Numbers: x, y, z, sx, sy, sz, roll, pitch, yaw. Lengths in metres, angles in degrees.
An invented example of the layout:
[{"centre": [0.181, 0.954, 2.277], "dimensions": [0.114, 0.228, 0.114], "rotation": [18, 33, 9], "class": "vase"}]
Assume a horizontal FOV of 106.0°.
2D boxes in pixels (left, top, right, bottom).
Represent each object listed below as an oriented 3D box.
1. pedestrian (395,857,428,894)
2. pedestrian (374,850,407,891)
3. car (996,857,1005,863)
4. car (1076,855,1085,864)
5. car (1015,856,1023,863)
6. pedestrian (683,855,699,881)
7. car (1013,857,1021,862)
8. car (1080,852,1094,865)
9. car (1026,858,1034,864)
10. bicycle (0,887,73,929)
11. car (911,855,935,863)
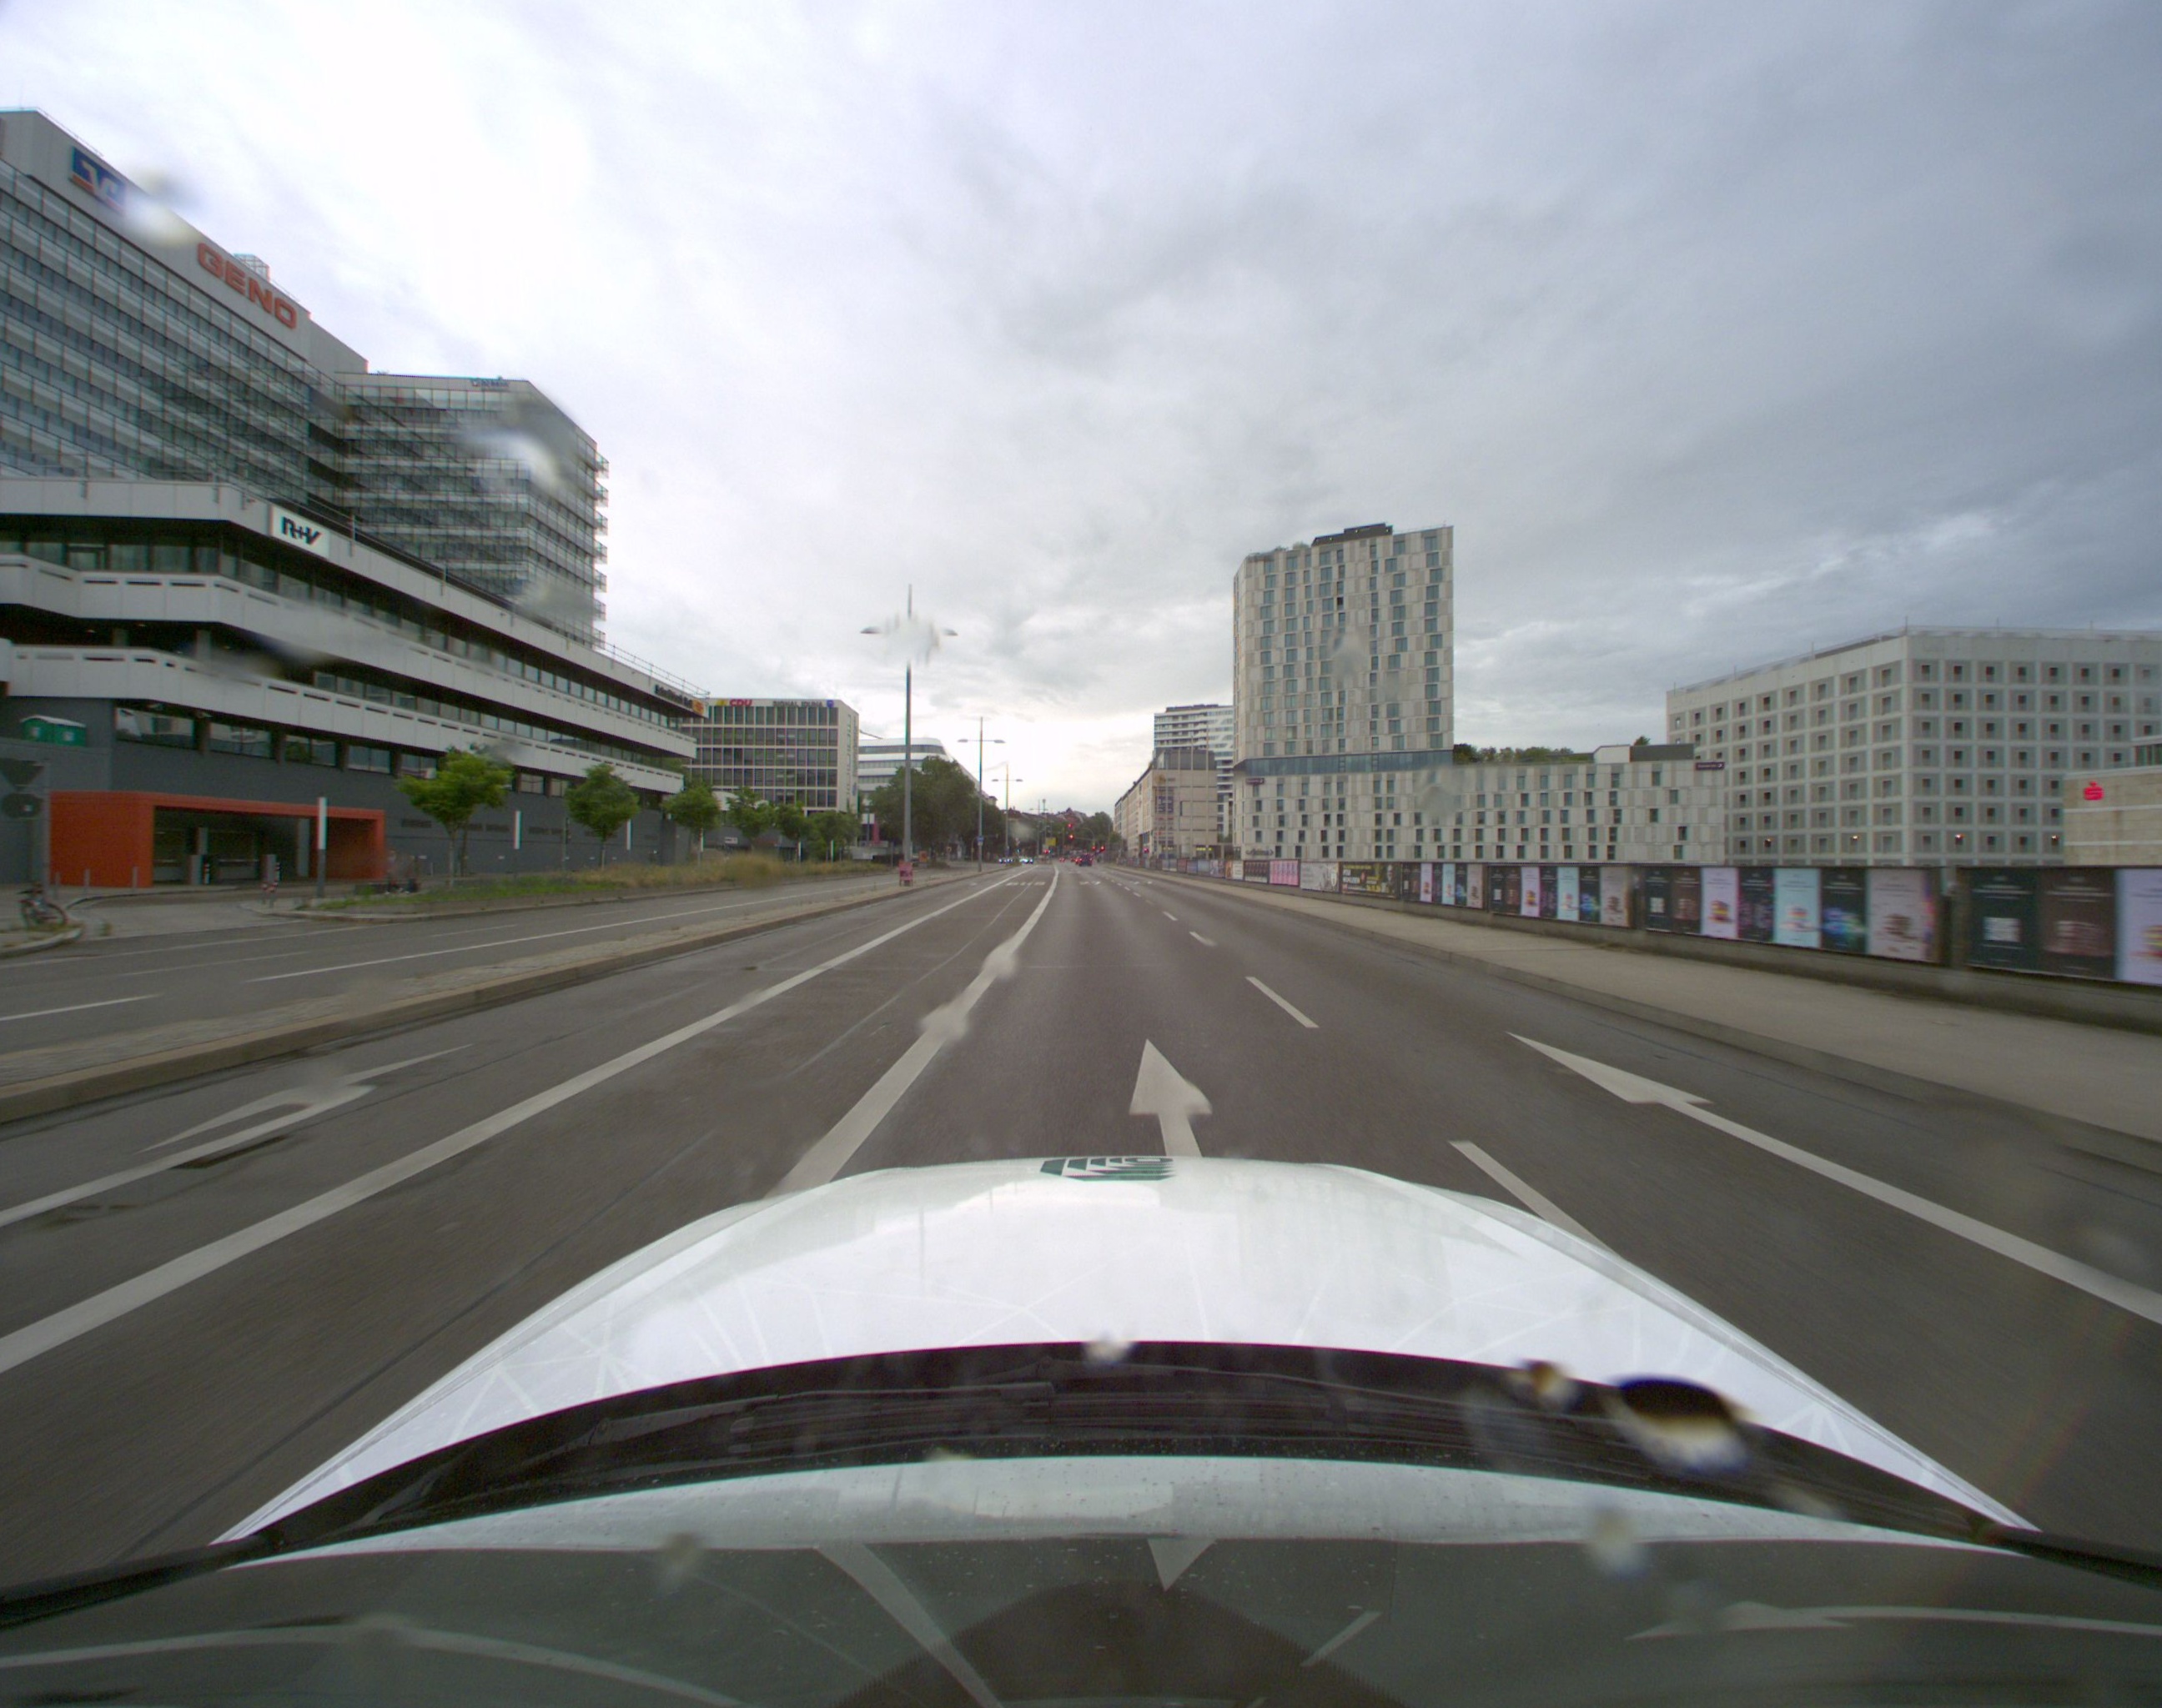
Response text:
[{"centre": [-27.087, 0.869, 32.958], "dimensions": [0.616, 1.446, 0.798], "rotation": [0, -2, 0], "class": "pedestrian"}, {"centre": [-27.866, 0.670, 32.885], "dimensions": [0.616, 1.658, 0.798], "rotation": [-1, -2, 0], "class": "pedestrian"}, {"centre": [-19.556, 1.386, 198.093], "dimensions": [1.738, 1.328, 4.222], "rotation": [0, -1, -2], "class": "car"}, {"centre": [-0.109, 1.015, 152.482], "dimensions": [1.735, 1.531, 3.811], "rotation": [0, -1, -2], "class": "car"}, {"centre": [-15.738, 1.428, 206.091], "dimensions": [1.738, 1.559, 3.537], "rotation": [0, -1, -2], "class": "car"}, {"centre": [-27.364, 1.016, 57.154], "dimensions": [0.782, 1.808, 0.628], "rotation": [0, -2, -2], "class": "pedestrian"}, {"centre": [-15.614, 1.400, 198.700], "dimensions": [1.738, 1.257, 3.537], "rotation": [0, 0, -2], "class": "car"}, {"centre": [0.903, 0.649, 127.679], "dimensions": [2.027, 1.882, 5.039], "rotation": [-3, 0, -1], "class": "car"}, {"centre": [-12.460, 1.736, 198.033], "dimensions": [1.738, 1.444, 3.392], "rotation": [0, -1, -2], "class": "car"}, {"centre": [-23.191, 1.174, 18.047], "dimensions": [0.612, 0.857, 1.639], "rotation": [1, -2, -35], "class": "bicycle"}, {"centre": [-32.910, 1.062, 169.668], "dimensions": [4.469, 1.631, 1.902], "rotation": [-1, -1, 14], "class": "car"}]
